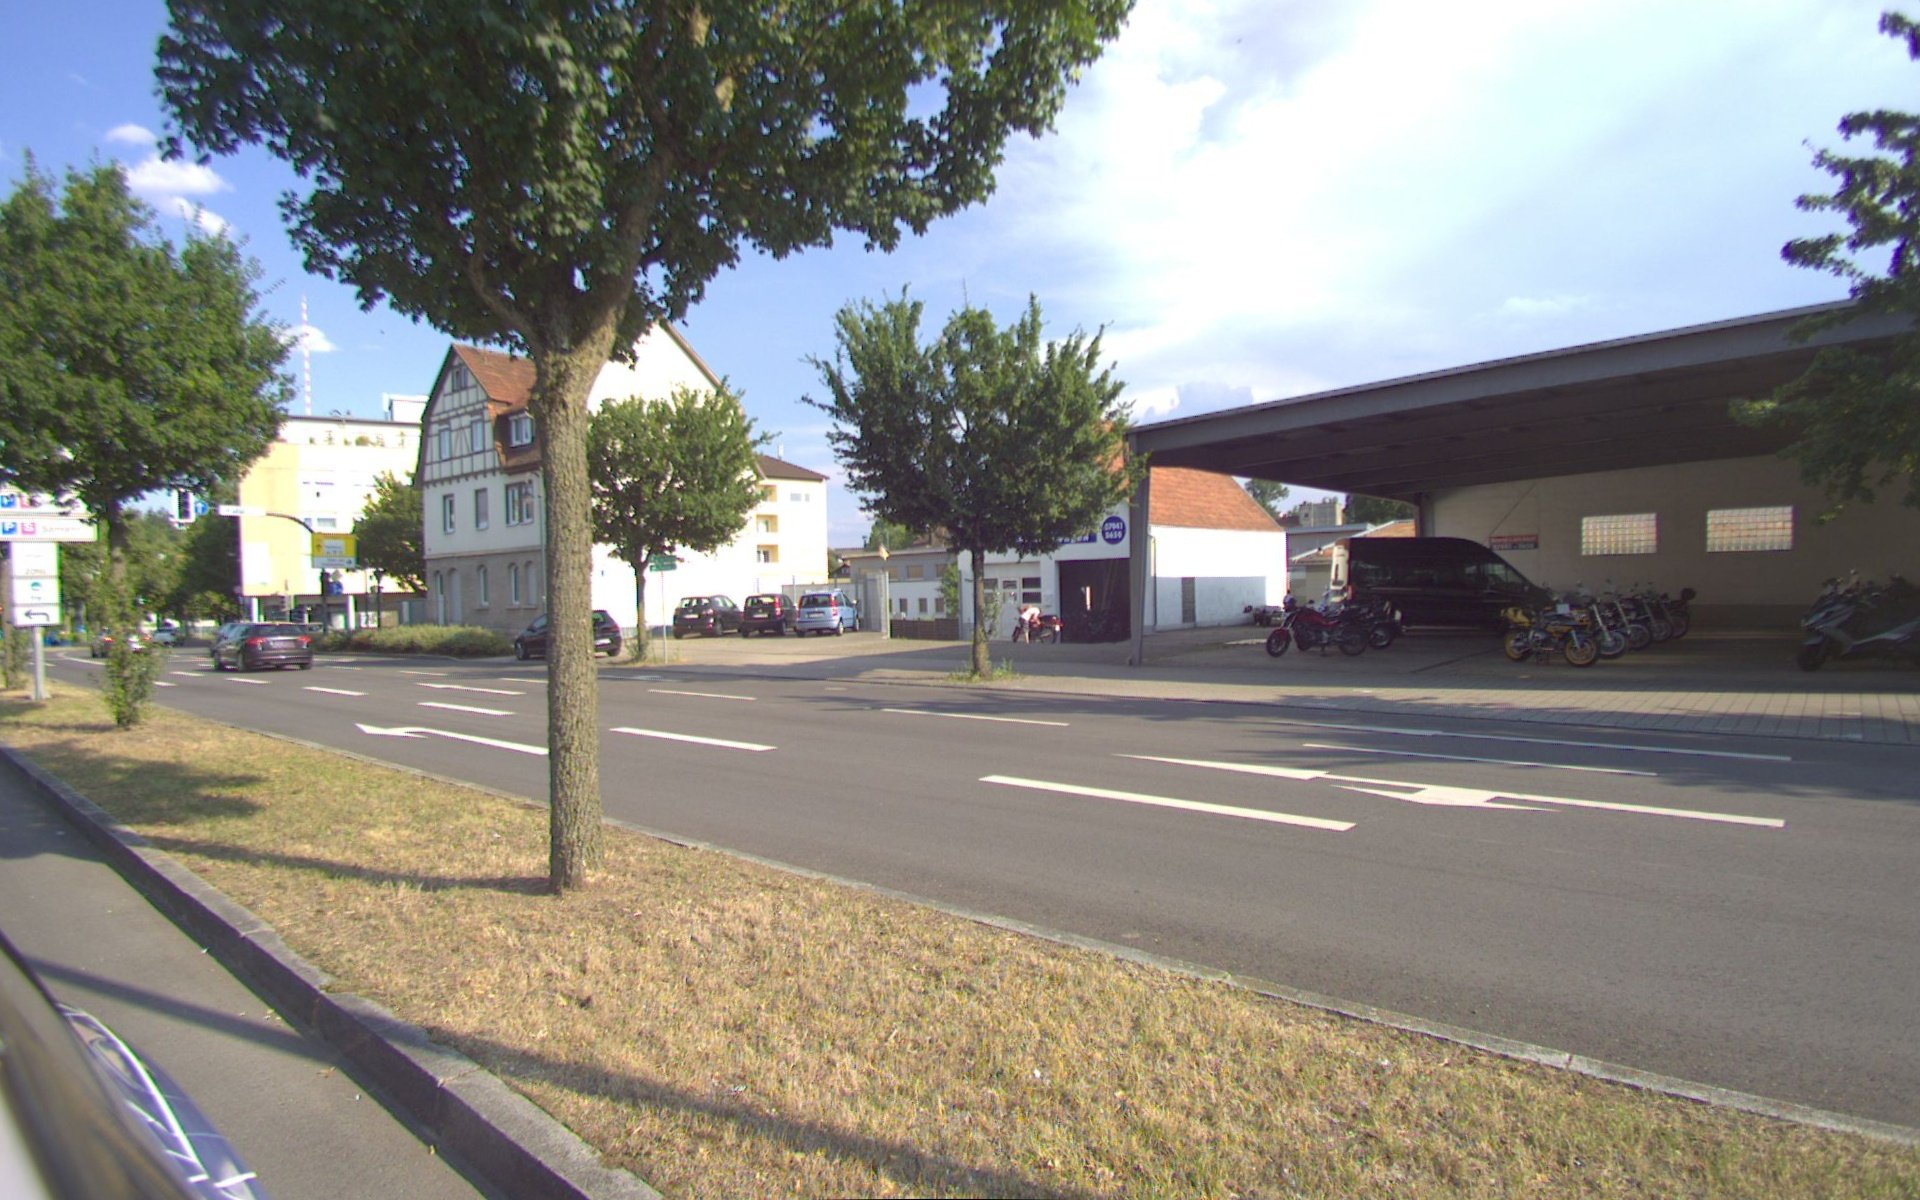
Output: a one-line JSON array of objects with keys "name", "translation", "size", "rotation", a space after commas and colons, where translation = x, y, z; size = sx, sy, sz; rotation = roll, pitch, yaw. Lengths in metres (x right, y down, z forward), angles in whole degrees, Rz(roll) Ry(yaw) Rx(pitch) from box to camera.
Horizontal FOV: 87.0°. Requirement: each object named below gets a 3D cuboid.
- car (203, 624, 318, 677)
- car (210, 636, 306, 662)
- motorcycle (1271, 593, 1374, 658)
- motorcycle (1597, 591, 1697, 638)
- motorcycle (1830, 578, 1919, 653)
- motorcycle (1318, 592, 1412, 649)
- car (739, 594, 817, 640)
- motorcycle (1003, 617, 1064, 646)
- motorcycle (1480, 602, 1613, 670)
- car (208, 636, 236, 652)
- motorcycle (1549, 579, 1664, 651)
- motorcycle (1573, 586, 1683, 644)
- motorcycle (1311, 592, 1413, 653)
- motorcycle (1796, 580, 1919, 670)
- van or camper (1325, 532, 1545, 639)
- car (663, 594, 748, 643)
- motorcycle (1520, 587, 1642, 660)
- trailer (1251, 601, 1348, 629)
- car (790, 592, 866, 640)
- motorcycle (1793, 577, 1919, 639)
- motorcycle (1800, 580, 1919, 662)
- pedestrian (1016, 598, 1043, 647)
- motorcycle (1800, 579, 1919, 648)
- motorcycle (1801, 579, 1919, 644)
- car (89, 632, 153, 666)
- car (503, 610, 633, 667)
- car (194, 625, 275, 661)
[{"name": "car", "translation": [-20.196, 1.403, 29.162], "size": [4.186, 1.397, 1.628], "rotation": [-1, 0, 40]}, {"name": "car", "translation": [-41.908, 2.904, 60.477], "size": [4.594, 1.364, 1.770], "rotation": [-1, 0, -41]}, {"name": "motorcycle", "translation": [7.560, 0.545, 21.187], "size": [1.991, 1.321, 0.665], "rotation": [-1, 0, 18]}, {"name": "motorcycle", "translation": [17.212, 0.360, 25.436], "size": [0.553, 1.131, 2.161], "rotation": [-1, 0, -19]}, {"name": "motorcycle", "translation": [17.105, 0.277, 18.257], "size": [2.068, 1.317, 0.621], "rotation": [-1, 0, 12]}, {"name": "motorcycle", "translation": [9.797, 0.492, 24.551], "size": [1.982, 1.321, 0.649], "rotation": [-1, 0, 5]}, {"name": "car", "translation": [-6.673, 0.595, 37.418], "size": [1.746, 1.564, 3.992], "rotation": [-1, 0, 7]}, {"name": "motorcycle", "translation": [2.412, 1.021, 33.358], "size": [2.212, 0.927, 0.500], "rotation": [-1, 0, 45]}, {"name": "motorcycle", "translation": [10.448, 0.609, 18.130], "size": [0.620, 1.132, 2.161], "rotation": [-1, 0, -19]}, {"name": "car", "translation": [-79.260, 4.709, 108.715], "size": [1.781, 1.508, 4.259], "rotation": [-1, 0, -28]}, {"name": "motorcycle", "translation": [13.802, 0.310, 21.695], "size": [0.584, 1.459, 2.161], "rotation": [-1, 0, -19]}, {"name": "motorcycle", "translation": [15.444, 0.346, 23.480], "size": [0.636, 1.268, 2.161], "rotation": [-1, 0, -19]}, {"name": "motorcycle", "translation": [9.029, 0.500, 22.771], "size": [1.982, 1.321, 0.649], "rotation": [-1, 0, 5]}, {"name": "motorcycle", "translation": [13.892, 0.364, 15.130], "size": [2.093, 1.317, 0.561], "rotation": [-1, 0, 12]}, {"name": "van or camper", "translation": [12.805, -0.364, 27.613], "size": [4.980, 2.700, 1.995], "rotation": [-1, 0, 9]}, {"name": "car", "translation": [-9.411, 0.646, 37.766], "size": [1.747, 1.563, 3.992], "rotation": [-2, 1, 7]}, {"name": "motorcycle", "translation": [12.121, 0.441, 19.843], "size": [0.553, 1.340, 2.161], "rotation": [-1, 0, -19]}, {"name": "trailer", "translation": [12.521, 0.535, 37.254], "size": [2.449, 0.831, 3.152], "rotation": [-1, 2, 38]}, {"name": "car", "translation": [-4.597, 0.541, 35.735], "size": [1.746, 1.564, 3.992], "rotation": [-1, 0, 7]}, {"name": "motorcycle", "translation": [19.918, 0.180, 22.526], "size": [2.068, 1.317, 0.561], "rotation": [-1, 0, 12]}, {"name": "motorcycle", "translation": [15.273, 0.344, 16.737], "size": [2.068, 1.317, 0.561], "rotation": [-1, 0, 12]}, {"name": "pedestrian", "translation": [2.242, 0.719, 32.703], "size": [0.642, 1.535, 0.676], "rotation": [-1, 0, -21]}, {"name": "motorcycle", "translation": [17.974, 0.272, 19.994], "size": [2.068, 1.317, 0.581], "rotation": [-1, 0, 12]}, {"name": "motorcycle", "translation": [18.964, 0.235, 21.171], "size": [2.068, 1.317, 0.561], "rotation": [-1, 0, 12]}, {"name": "car", "translation": [-37.879, 2.178, 45.632], "size": [4.480, 1.359, 1.760], "rotation": [-1, 0, 44]}, {"name": "car", "translation": [-11.733, 1.114, 30.159], "size": [4.193, 1.454, 1.816], "rotation": [-1, 3, 41]}, {"name": "car", "translation": [-31.140, 1.800, 43.397], "size": [4.642, 1.432, 1.824], "rotation": [-1, 0, 41]}]
